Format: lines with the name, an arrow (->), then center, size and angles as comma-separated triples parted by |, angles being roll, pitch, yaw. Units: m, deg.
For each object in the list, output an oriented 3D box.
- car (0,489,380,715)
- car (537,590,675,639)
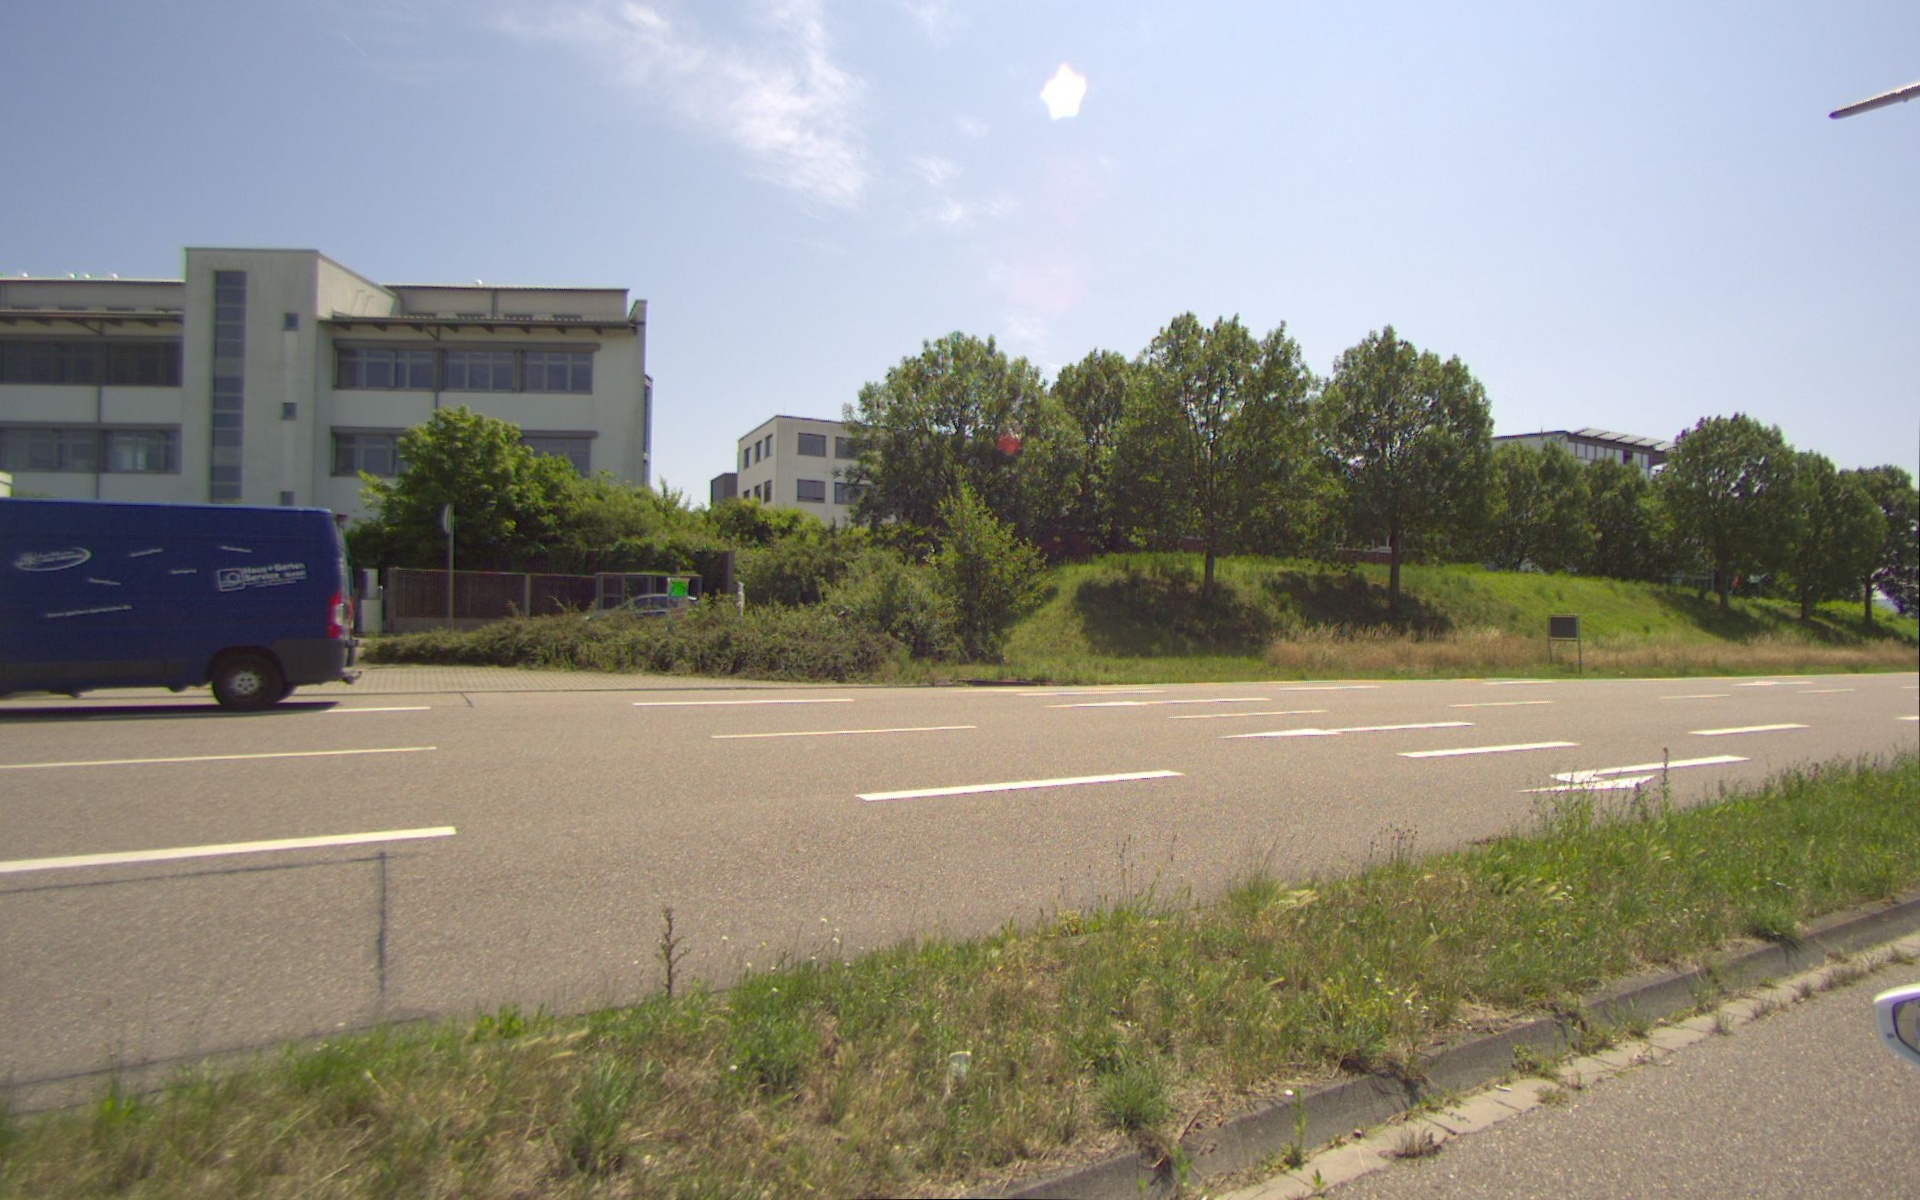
car -> -10.315, 0.044, 12.102 | 5.598, 2.443, 2.166 | 1, -1, -27
car -> -11.009, 0.461, 31.341 | 3.940, 1.428, 1.874 | 1, -1, -21
